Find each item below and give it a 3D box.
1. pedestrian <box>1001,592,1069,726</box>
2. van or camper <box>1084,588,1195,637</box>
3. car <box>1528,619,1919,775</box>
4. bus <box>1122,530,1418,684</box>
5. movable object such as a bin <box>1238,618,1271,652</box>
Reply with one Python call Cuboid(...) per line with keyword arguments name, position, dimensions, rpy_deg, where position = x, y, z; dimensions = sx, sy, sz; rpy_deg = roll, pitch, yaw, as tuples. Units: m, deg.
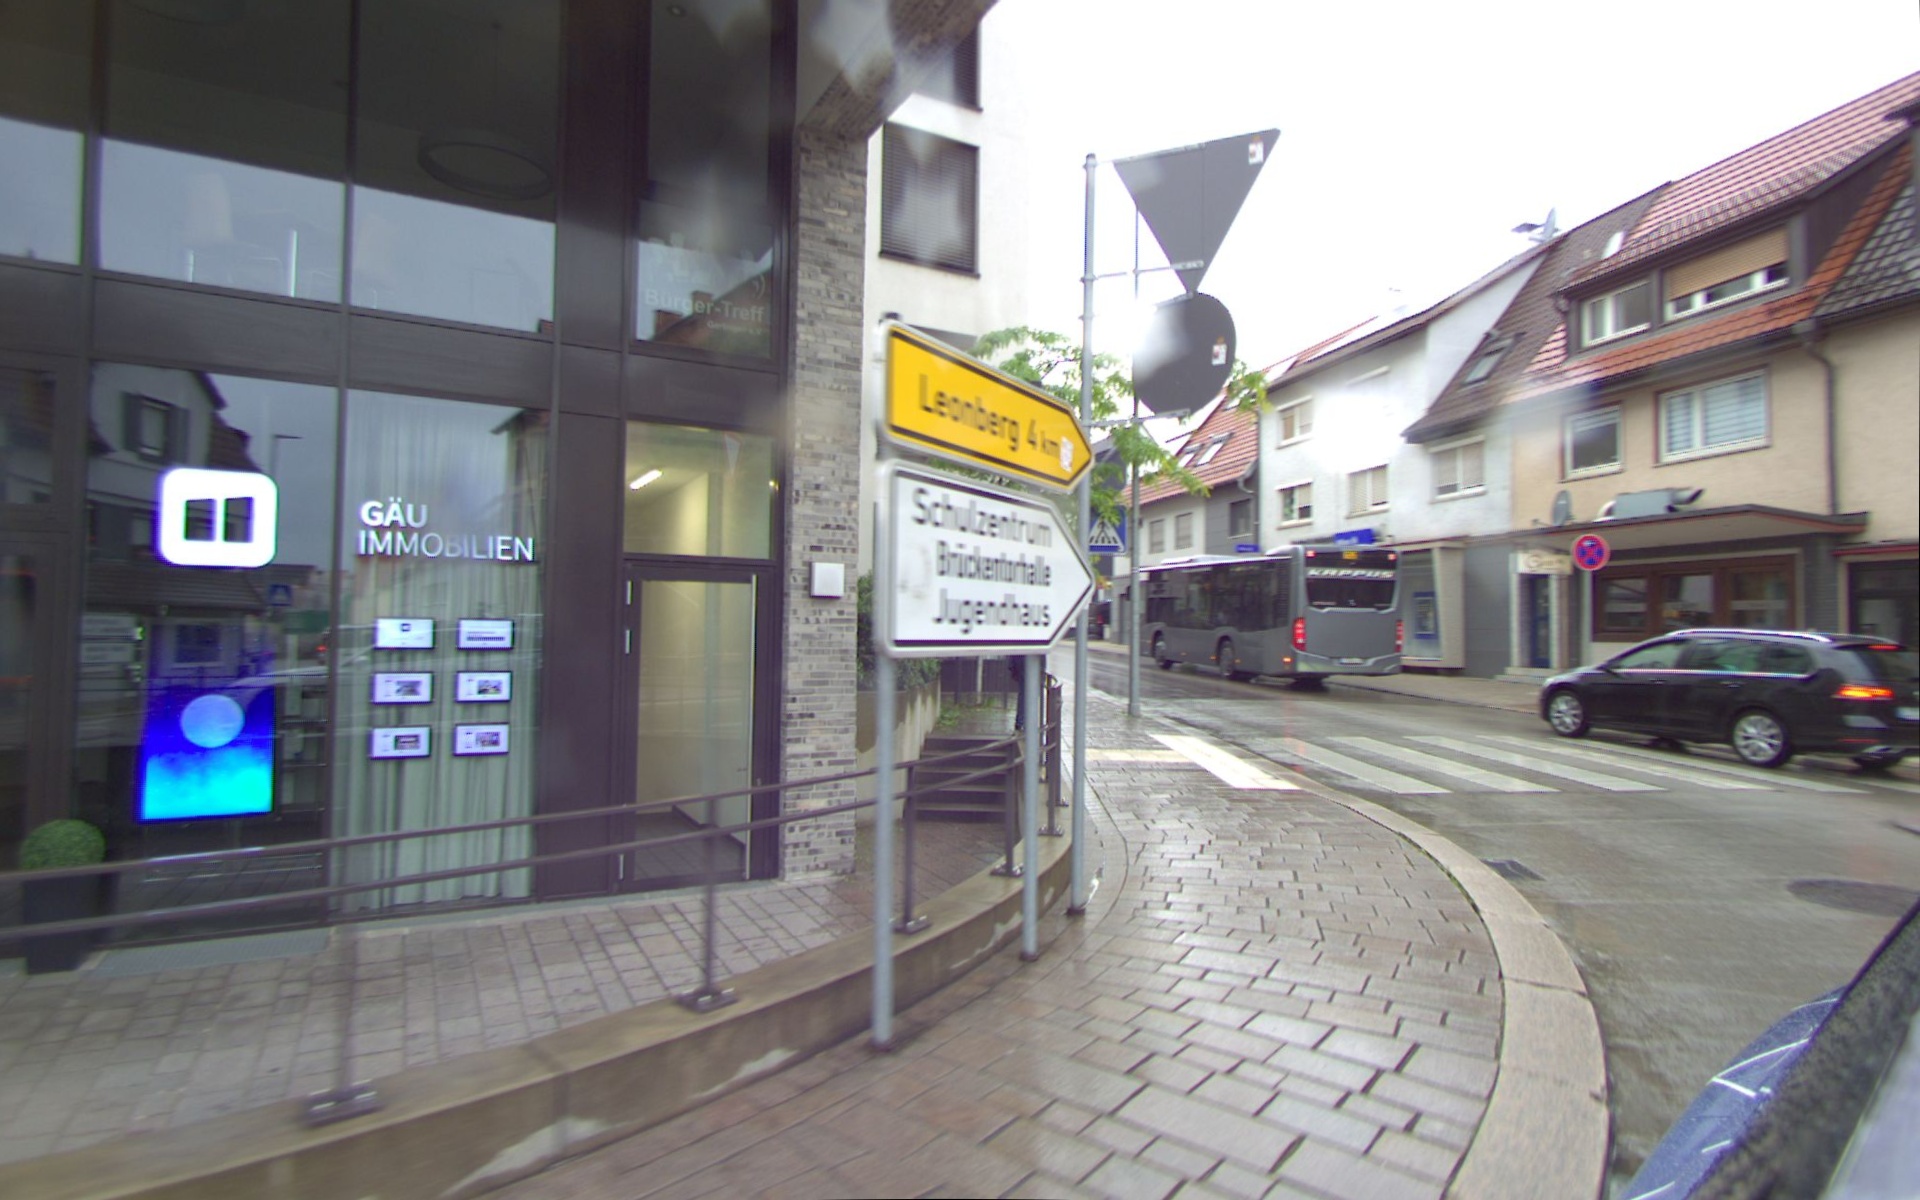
Cuboid(name="pedestrian", position=(0.939, 0.730, 12.748), dimensions=(0.572, 1.626, 0.705), rpy_deg=(3, -1, -16))
Cuboid(name="van or camper", position=(8.886, 0.583, 50.264), dimensions=(4.937, 1.957, 2.004), rpy_deg=(-4, 1, -13))
Cuboid(name="car", position=(9.064, 0.996, 11.921), dimensions=(1.636, 1.449, 4.475), rpy_deg=(3, -2, -10))
Cuboid(name="bus", position=(7.220, 0.160, 26.012), dimensions=(2.676, 3.119, 10.962), rpy_deg=(0, 0, -9))
Cuboid(name="movable object such as a bin", position=(9.561, 1.119, 32.894), dimensions=(0.779, 1.073, 0.703), rpy_deg=(0, 0, -13))
